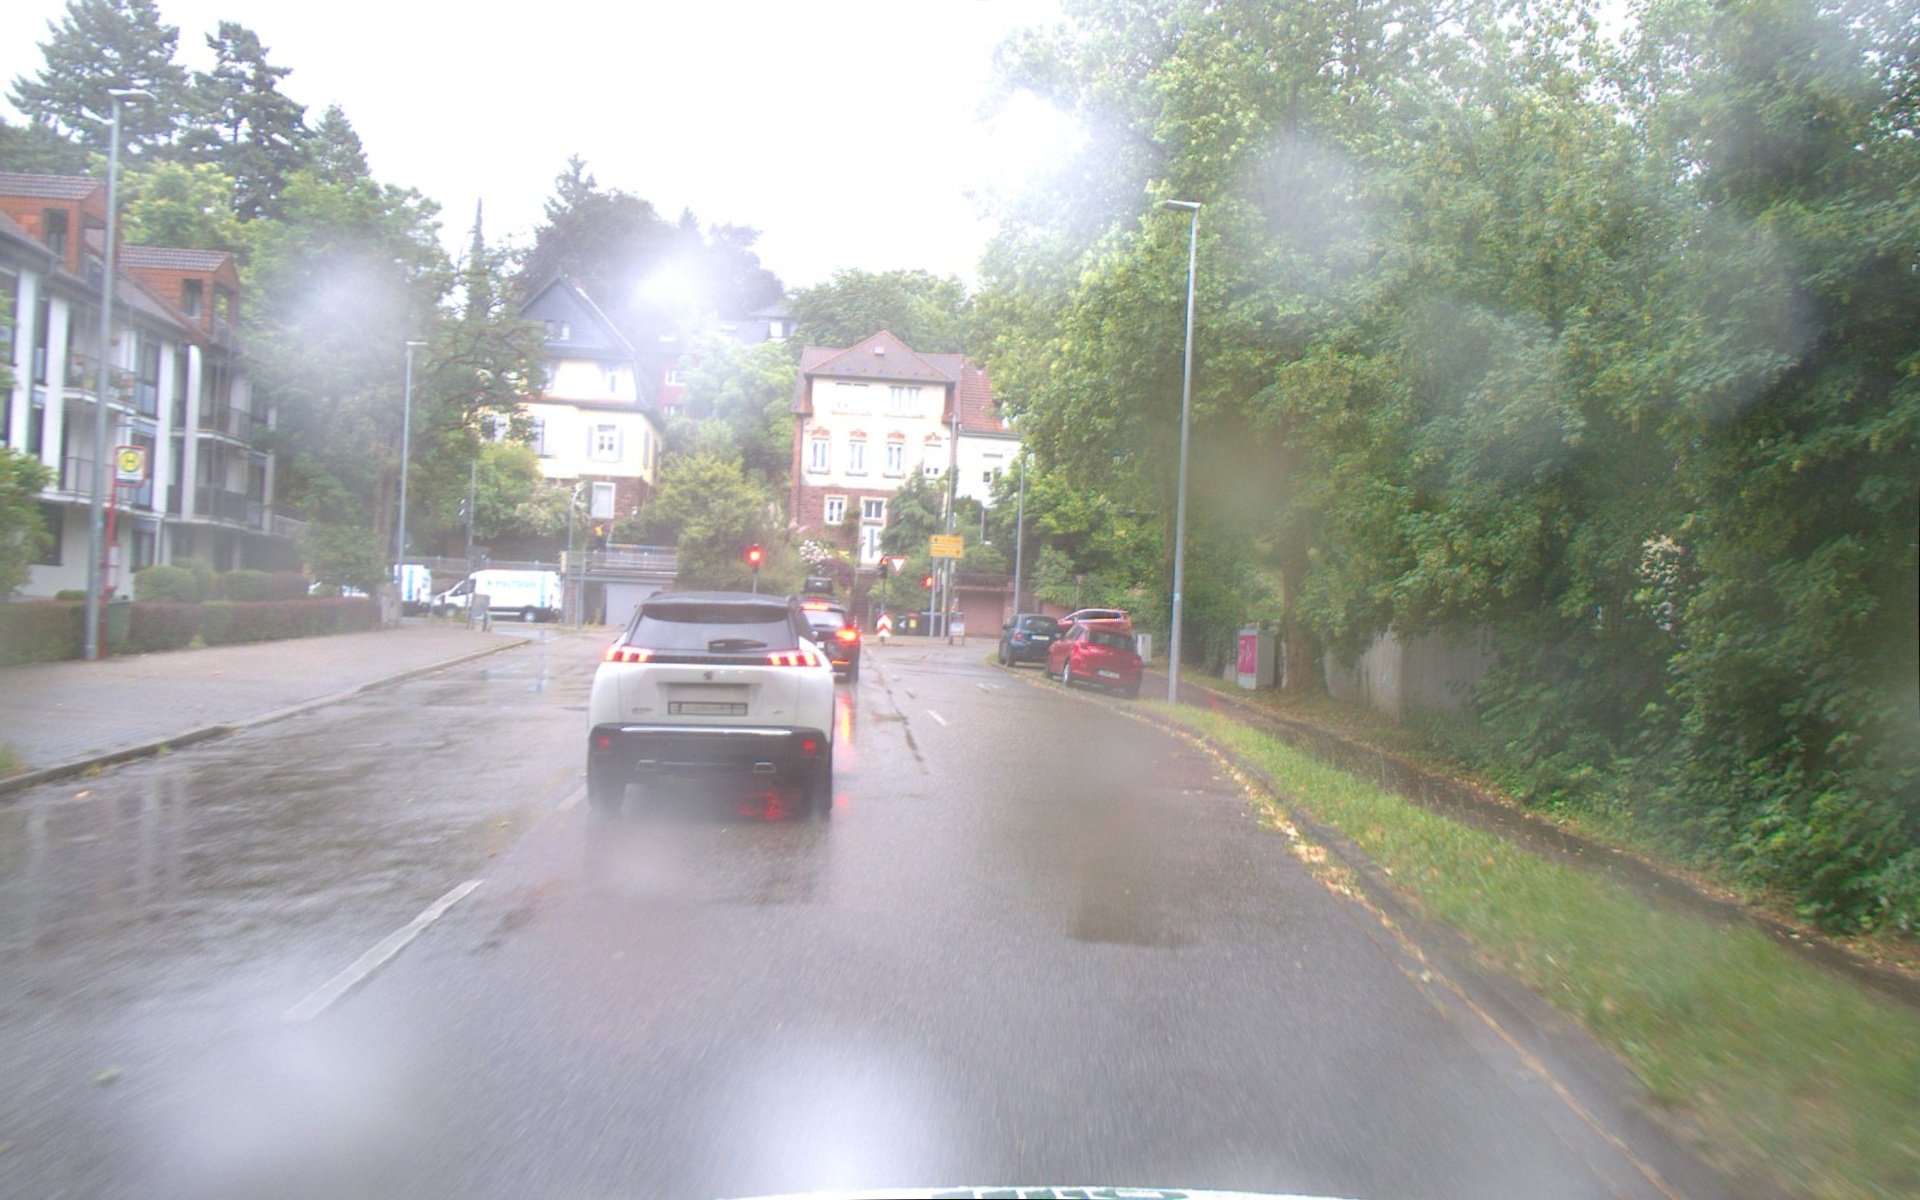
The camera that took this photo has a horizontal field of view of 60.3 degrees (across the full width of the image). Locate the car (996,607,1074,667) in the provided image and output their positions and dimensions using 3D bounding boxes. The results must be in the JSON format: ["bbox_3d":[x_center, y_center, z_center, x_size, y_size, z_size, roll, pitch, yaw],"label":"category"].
[{"bbox_3d":[2.119,1.047,47.741,1.715,1.517,3.596,5,-1,-4],"label":"car"}]

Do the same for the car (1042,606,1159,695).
[{"bbox_3d":[3.183,1.127,38.313,1.787,1.542,3.738,10,1,-7],"label":"car"}]

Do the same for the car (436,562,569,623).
[{"bbox_3d":[-21.685,-0.331,78.591,5.548,2.538,2.314,3,-2,-3],"label":"car"}]

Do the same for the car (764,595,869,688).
[{"bbox_3d":[-2.806,0.757,32.737,1.796,1.481,4.655,5,1,-4],"label":"car"}]

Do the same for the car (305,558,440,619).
[{"bbox_3d":[-27.782,-0.518,78.354,5.452,2.538,2.314,3,-2,-3],"label":"car"}]

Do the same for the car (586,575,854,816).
[{"bbox_3d":[-1.747,0.639,13.127,1.718,1.563,4.363,2,0,-4],"label":"car"}]

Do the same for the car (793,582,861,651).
[{"bbox_3d":[-3.810,0.413,46.946,1.726,1.740,4.595,4,0,-6],"label":"car"}]

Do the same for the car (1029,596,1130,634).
[{"bbox_3d":[5.486,0.685,76.222,4.477,1.629,1.773,1,-2,-3],"label":"car"}]
